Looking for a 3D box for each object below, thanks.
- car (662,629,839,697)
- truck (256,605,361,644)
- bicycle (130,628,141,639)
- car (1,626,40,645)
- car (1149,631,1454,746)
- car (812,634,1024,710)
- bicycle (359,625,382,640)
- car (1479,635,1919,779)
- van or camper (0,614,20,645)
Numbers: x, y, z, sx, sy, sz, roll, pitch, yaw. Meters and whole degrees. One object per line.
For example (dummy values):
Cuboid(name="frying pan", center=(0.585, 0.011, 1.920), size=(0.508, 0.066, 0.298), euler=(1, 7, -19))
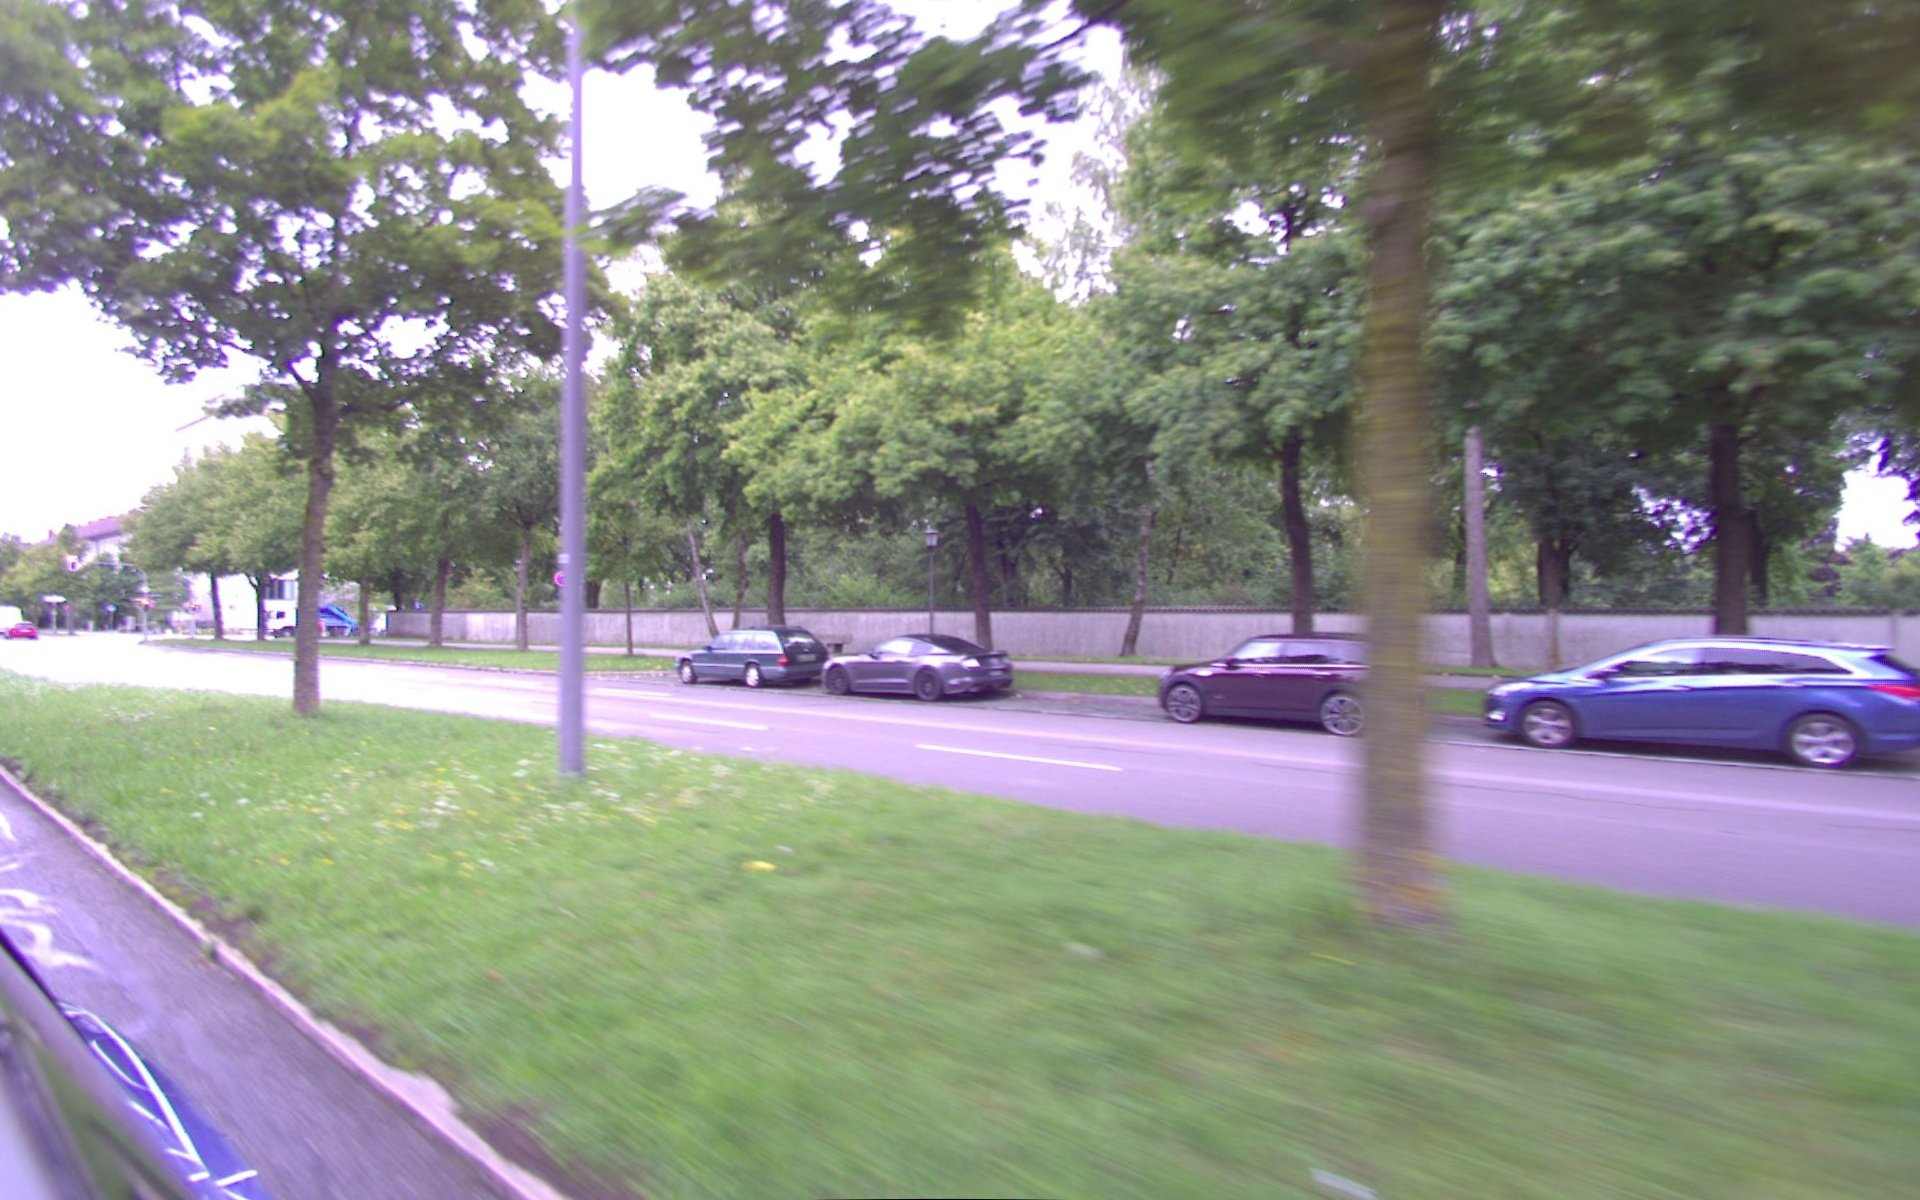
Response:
Cuboid(name="car", center=(-5.376, 1.521, 25.606), size=(4.912, 1.501, 1.780), euler=(-1, -1, 41))
Cuboid(name="truck", center=(-60.458, 2.284, 94.111), size=(2.771, 3.515, 7.715), euler=(-1, -2, 42))
Cuboid(name="bicycle", center=(-83.528, 3.390, 102.479), size=(1.825, 1.190, 0.539), euler=(-1, -2, 40))
Cuboid(name="car", center=(-75.323, 2.820, 81.106), size=(4.655, 1.463, 1.725), euler=(-2, -4, 41))
Cuboid(name="car", center=(5.232, 1.270, 15.957), size=(1.553, 1.514, 4.305), euler=(0, -1, -45))
Cuboid(name="car", center=(-1.002, 1.462, 21.720), size=(4.704, 1.406, 1.642), euler=(-1, -1, 41))
Cuboid(name="bicycle", center=(-48.388, 2.658, 83.125), size=(2.494, 1.195, 0.827), euler=(-1, -2, 40))
Cuboid(name="car", center=(9.323, 1.211, 12.662), size=(4.795, 1.470, 1.570), euler=(-1, -1, 40))
Cuboid(name="van or camper", center=(-84.796, 2.586, 89.179), size=(6.948, 2.667, 2.155), euler=(-1, -4, 42))
